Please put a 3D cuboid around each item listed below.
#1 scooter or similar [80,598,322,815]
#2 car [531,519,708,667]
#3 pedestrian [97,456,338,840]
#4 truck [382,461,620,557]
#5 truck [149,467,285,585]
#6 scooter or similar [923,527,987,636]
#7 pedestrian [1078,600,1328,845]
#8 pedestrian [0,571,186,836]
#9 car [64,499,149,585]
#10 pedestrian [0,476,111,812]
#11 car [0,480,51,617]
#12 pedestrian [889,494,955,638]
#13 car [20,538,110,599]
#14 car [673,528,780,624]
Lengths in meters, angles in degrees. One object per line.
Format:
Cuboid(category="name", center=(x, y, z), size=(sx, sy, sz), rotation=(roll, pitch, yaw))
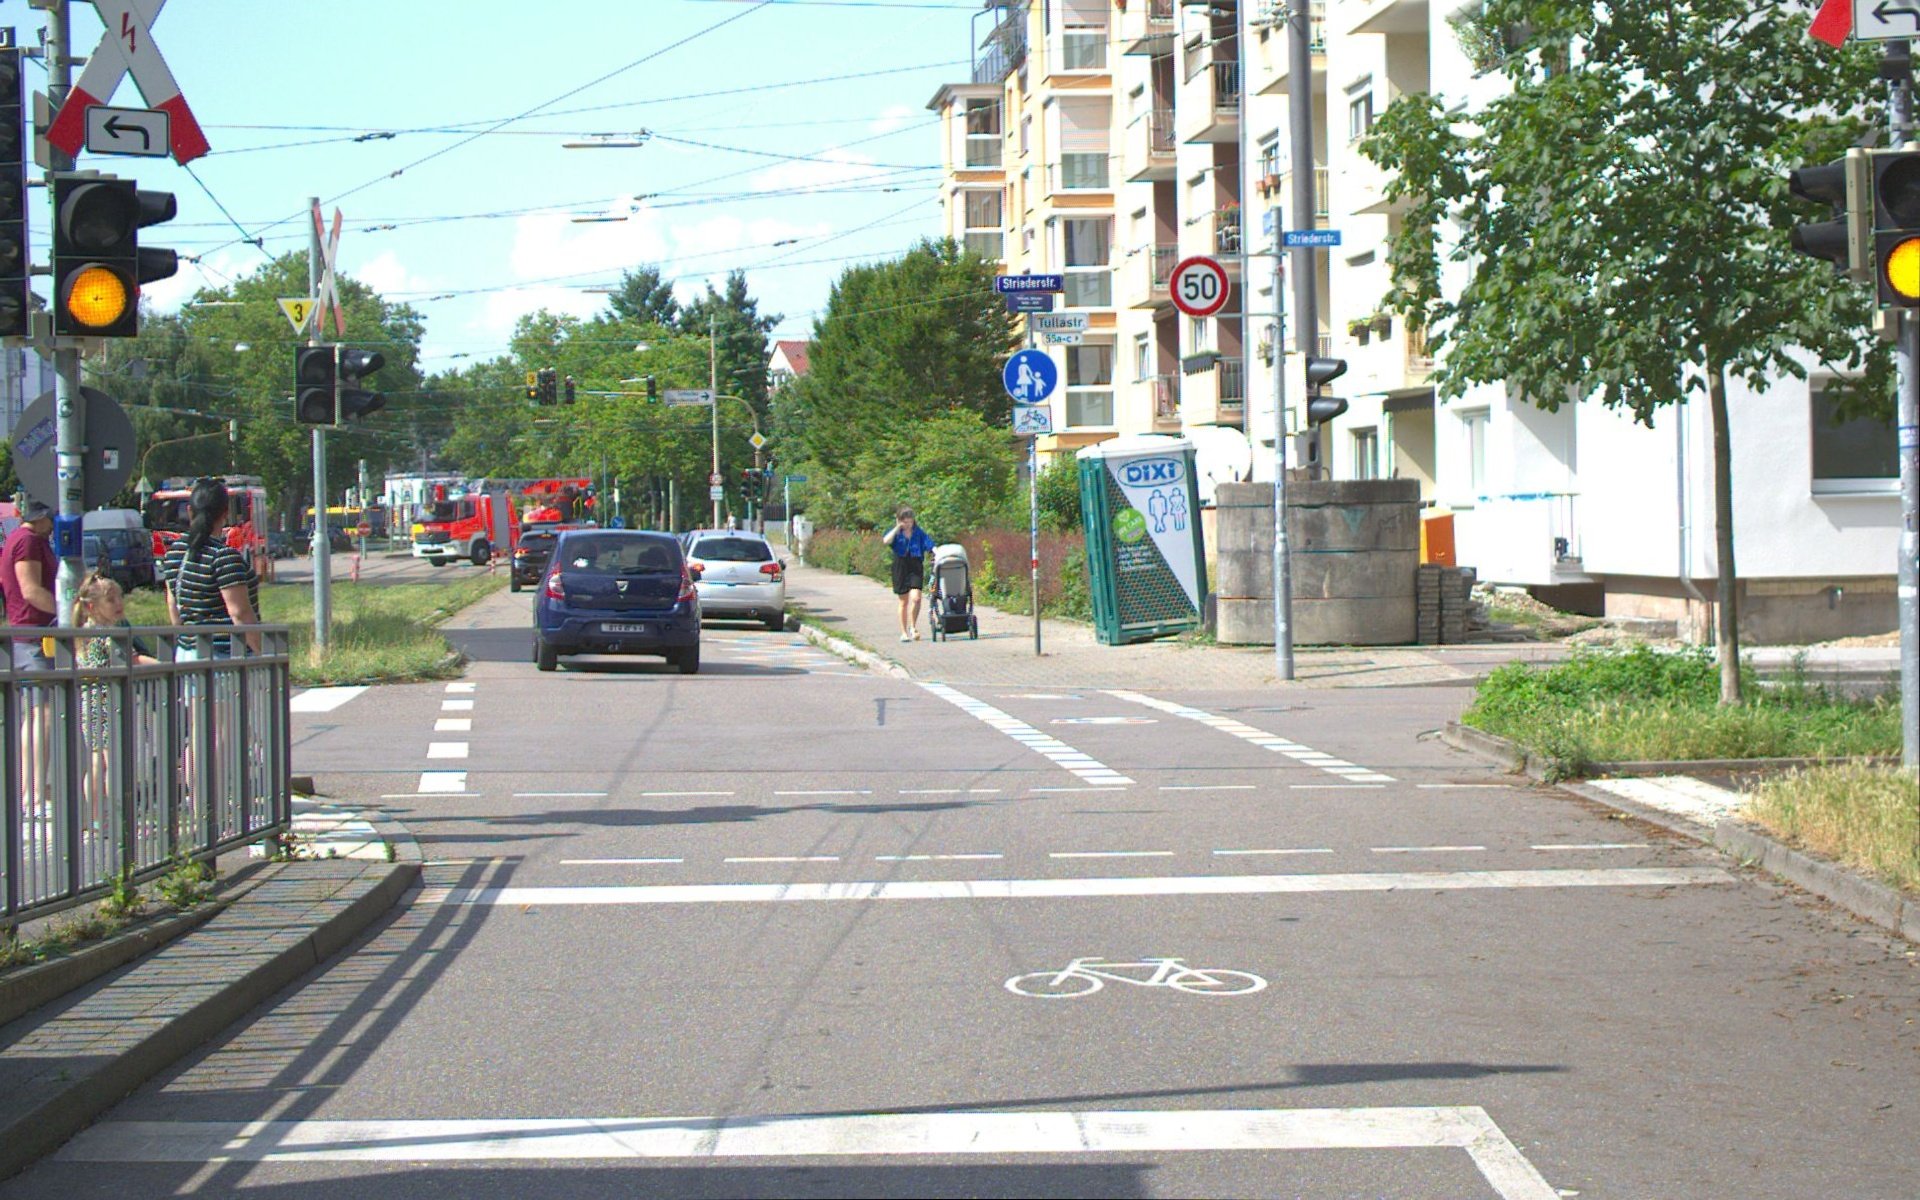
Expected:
Cuboid(category="scooter or similar", center=(-3.786, 0.526, 17.202), size=(1.100, 1.052, 0.651), rotation=(0, 1, -5))
Cuboid(category="car", center=(-3.640, -0.103, 37.267), size=(1.743, 1.502, 4.001), rotation=(1, 1, -3))
Cuboid(category="pedestrian", center=(-3.353, 0.200, 15.506), size=(0.845, 1.662, 0.799), rotation=(-2, 1, -27))
Cuboid(category="truck", center=(-17.251, -3.381, 130.016), size=(2.672, 3.458, 10.147), rotation=(1, 1, 36))
Cuboid(category="truck", center=(-21.208, -2.107, 98.542), size=(2.596, 3.175, 8.384), rotation=(-1, 1, -4))
Cuboid(category="scooter or similar", center=(-0.063, -0.242, 43.333), size=(0.662, 1.299, 0.869), rotation=(-4, 2, -3))
Cuboid(category="pedestrian", center=(2.138, 1.040, 31.247), size=(1.993, 2.007, 4.000), rotation=(1, 1, 0))
Cuboid(category="pedestrian", center=(-4.064, 0.465, 16.003), size=(0.636, 1.176, 0.799), rotation=(-2, 1, -32))
Cuboid(category="car", center=(-24.369, -1.646, 98.288), size=(1.776, 2.391, 4.696), rotation=(0, 1, -7))
Cuboid(category="pedestrian", center=(-4.664, 0.209, 17.148), size=(0.705, 1.642, 0.637), rotation=(1, 1, -4))
Cuboid(category="car", center=(-17.112, -0.895, 59.197), size=(1.993, 2.267, 4.835), rotation=(-1, 1, -5))
Cuboid(category="pedestrian", center=(-0.498, -0.447, 44.242), size=(0.701, 1.783, 1.030), rotation=(-4, 1, -2))
Cuboid(category="car", center=(-23.649, -0.851, 90.922), size=(1.776, 1.551, 4.001), rotation=(0, 1, -7))
Cuboid(category="car", center=(-3.700, -0.395, 54.365), size=(1.622, 1.460, 3.511), rotation=(1, 1, -4))
